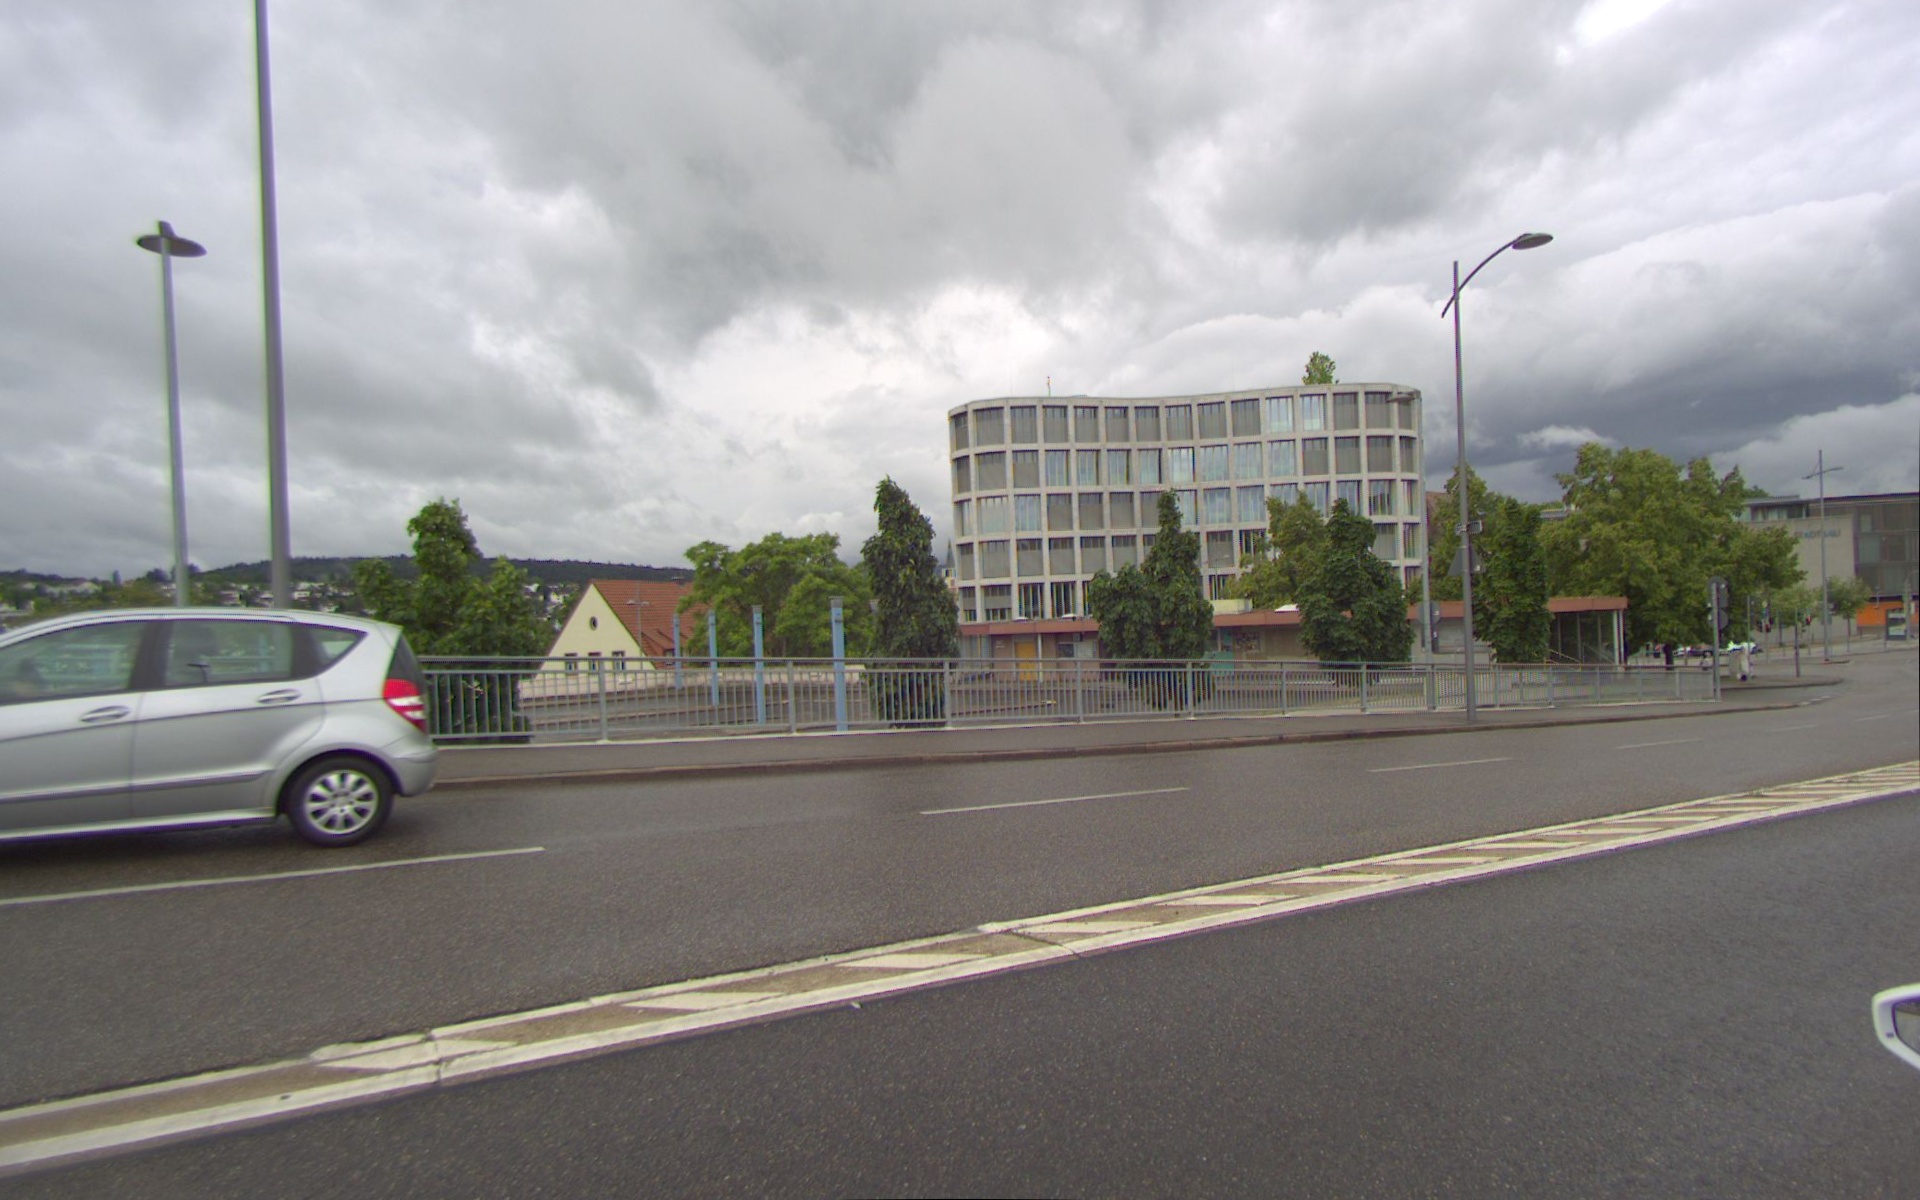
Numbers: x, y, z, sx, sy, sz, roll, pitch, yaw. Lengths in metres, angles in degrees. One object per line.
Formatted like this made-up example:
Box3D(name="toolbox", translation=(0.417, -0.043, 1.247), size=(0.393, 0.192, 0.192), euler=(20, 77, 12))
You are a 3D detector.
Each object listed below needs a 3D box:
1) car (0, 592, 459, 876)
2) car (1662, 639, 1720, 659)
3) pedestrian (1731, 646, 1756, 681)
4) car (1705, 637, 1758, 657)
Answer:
Box3D(name="car", translation=(-5.492, 0.815, 6.765), size=(3.667, 1.630, 1.637), euler=(2, -3, -31))
Box3D(name="car", translation=(65.634, 4.386, 90.238), size=(3.712, 1.515, 1.767), euler=(-4, -2, 8))
Box3D(name="pedestrian", translation=(36.575, 2.974, 46.910), size=(0.623, 1.590, 0.649), euler=(0, -4, -29))
Box3D(name="car", translation=(64.906, 3.964, 84.517), size=(3.522, 1.515, 1.628), euler=(-3, -2, -15))
